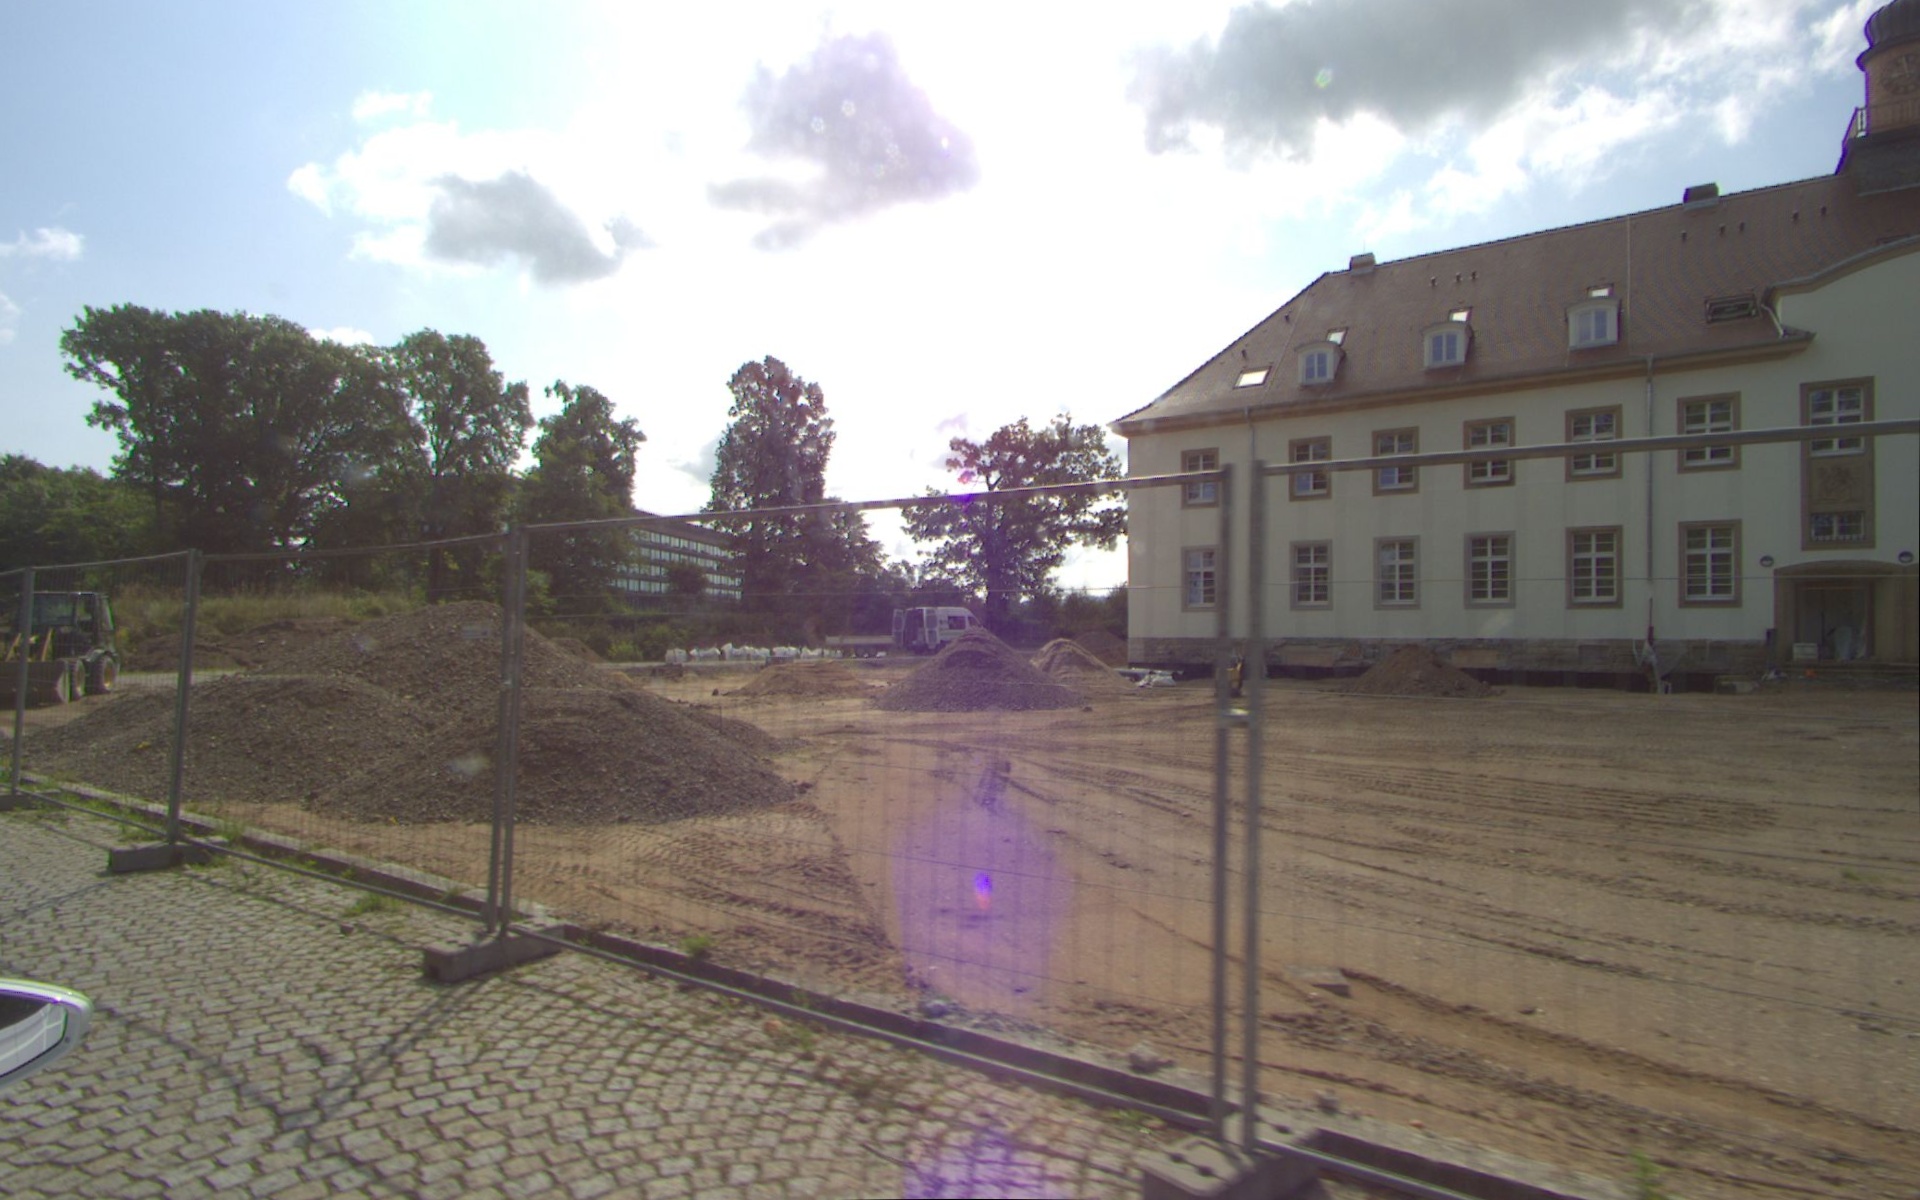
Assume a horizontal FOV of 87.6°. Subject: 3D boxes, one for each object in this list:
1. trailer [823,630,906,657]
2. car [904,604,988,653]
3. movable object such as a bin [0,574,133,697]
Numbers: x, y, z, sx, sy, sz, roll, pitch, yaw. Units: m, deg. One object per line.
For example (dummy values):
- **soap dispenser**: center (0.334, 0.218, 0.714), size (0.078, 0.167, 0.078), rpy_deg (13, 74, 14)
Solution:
- **trailer**: center (-5.099, 2.329, 53.675), size (3.945, 1.371, 2.077), rpy_deg (1, -2, -32)
- **car**: center (-0.757, 1.653, 57.240), size (4.772, 2.676, 2.036), rpy_deg (2, -2, -44)
- **movable object such as a bin**: center (-21.381, 0.815, 23.424), size (2.103, 2.626, 4.771), rpy_deg (1, -2, -27)
